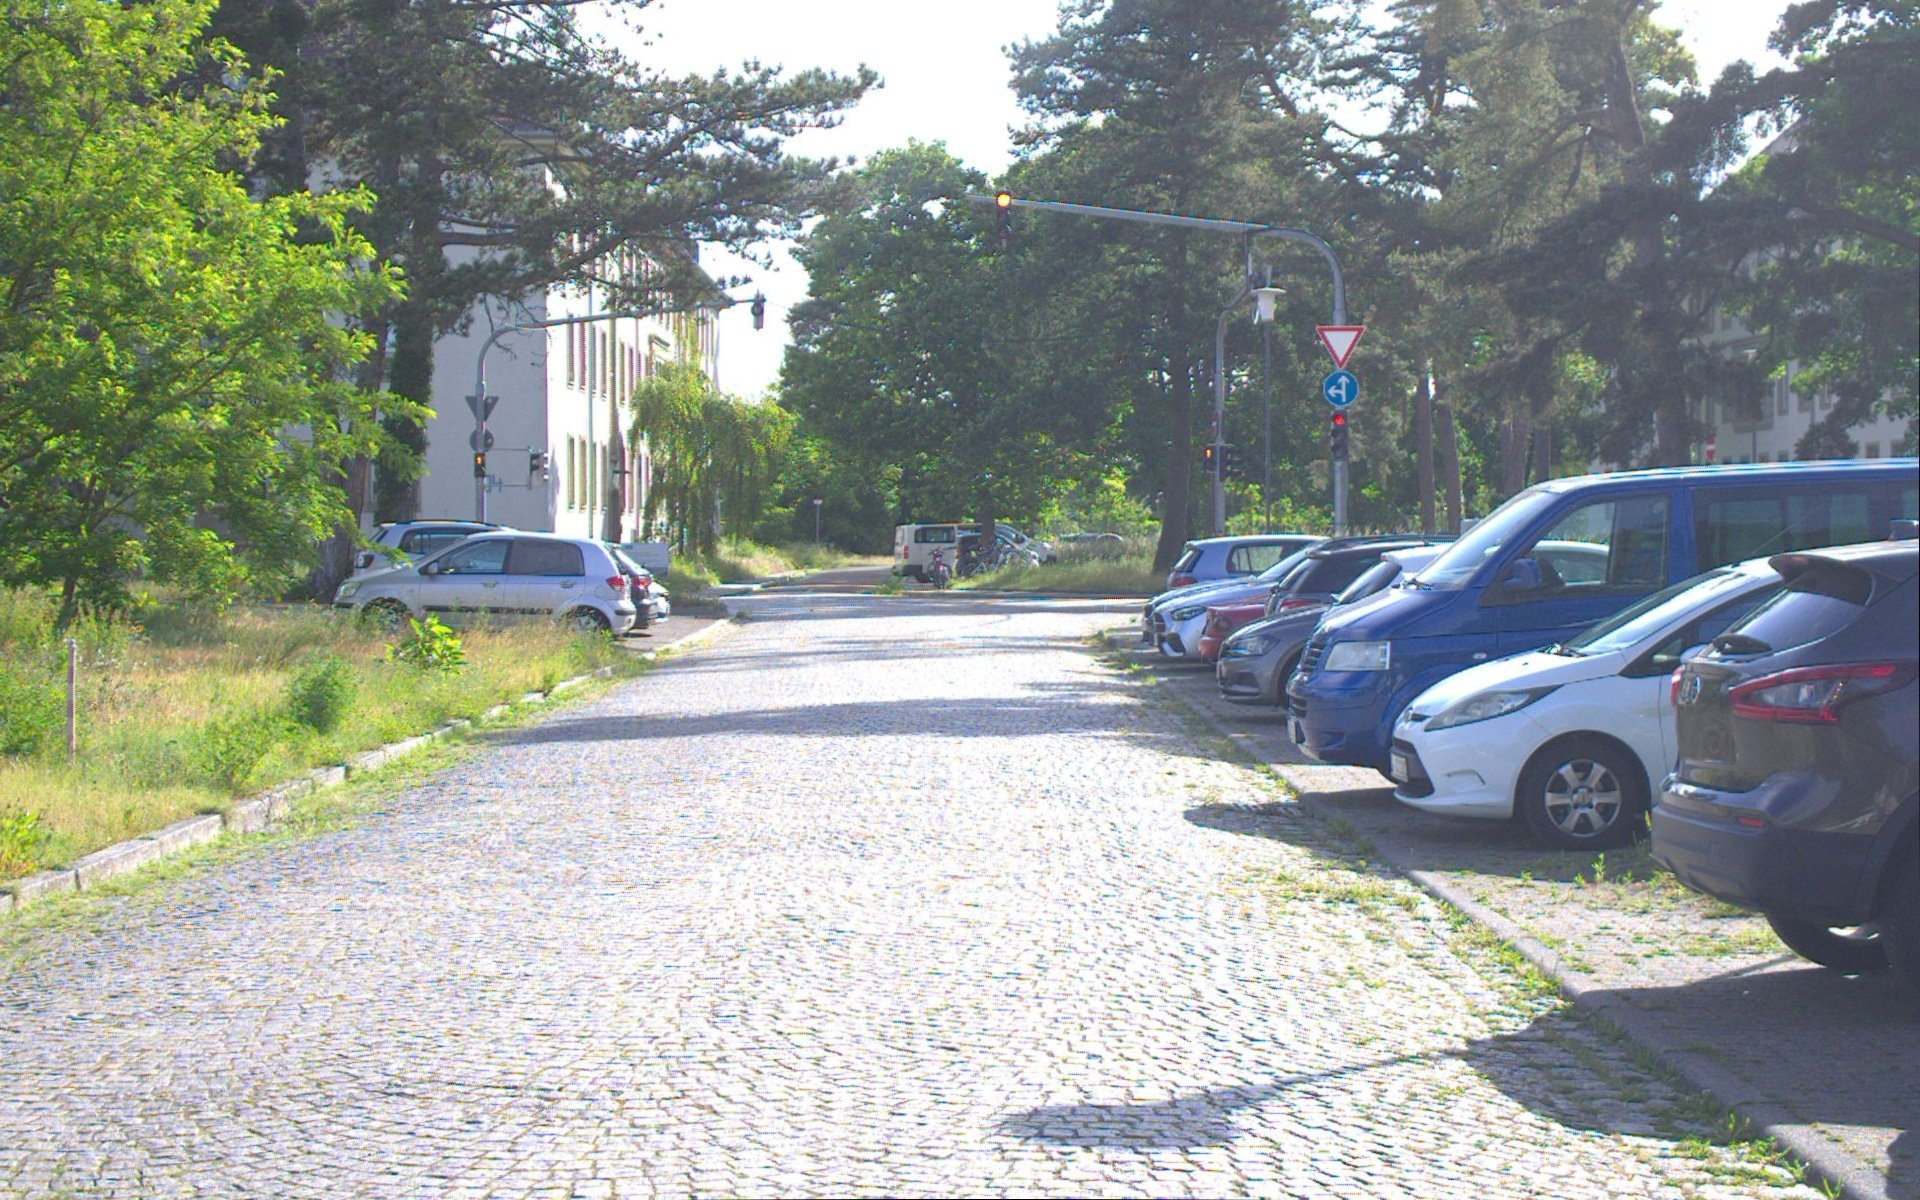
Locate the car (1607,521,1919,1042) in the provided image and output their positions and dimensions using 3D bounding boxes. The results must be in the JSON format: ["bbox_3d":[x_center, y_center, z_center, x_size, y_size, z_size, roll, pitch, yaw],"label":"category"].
[{"bbox_3d":[4.335,0.543,11.606,3.935,1.616,1.772,0,1,-1],"label":"car"}]

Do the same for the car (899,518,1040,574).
[{"bbox_3d":[0.295,-1.746,110.797,4.480,1.722,2.000,1,1,-1],"label":"car"}]

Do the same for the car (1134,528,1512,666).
[{"bbox_3d":[4.066,-0.052,38.916,4.033,1.524,1.646,0,1,-4],"label":"car"}]

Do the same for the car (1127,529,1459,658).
[{"bbox_3d":[3.999,-0.091,41.688,3.835,1.524,1.646,0,1,-1],"label":"car"}]

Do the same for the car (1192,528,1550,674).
[{"bbox_3d":[4.364,-0.005,36.836,3.602,1.524,1.646,0,1,-1],"label":"car"}]

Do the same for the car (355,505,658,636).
[{"bbox_3d":[-6.414,-0.440,48.981,3.987,1.596,2.000,3,1,-1],"label":"car"}]

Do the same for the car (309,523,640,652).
[{"bbox_3d":[-6.103,-0.178,43.594,3.986,1.595,2.000,0,1,-3],"label":"car"}]

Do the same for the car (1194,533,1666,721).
[{"bbox_3d":[3.880,0.206,28.769,3.675,1.462,1.645,-1,1,-1],"label":"car"}]

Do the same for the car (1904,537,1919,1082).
[{"bbox_3d":[4.569,0.601,8.939,3.762,1.525,1.645,0,1,0],"label":"car"}]

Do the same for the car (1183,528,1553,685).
[{"bbox_3d":[4.035,0.049,34.377,3.478,1.524,1.646,0,1,-1],"label":"car"}]

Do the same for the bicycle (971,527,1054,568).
[{"bbox_3d":[1.442,-1.440,94.690,2.172,1.096,0.807,0,1,-10],"label":"bicycle"}]

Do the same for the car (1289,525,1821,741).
[{"bbox_3d":[4.413,0.223,25.878,3.694,1.460,1.645,-2,1,1],"label":"car"}]

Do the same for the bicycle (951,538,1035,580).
[{"bbox_3d":[0.894,-1.115,93.330,2.172,1.096,0.807,0,1,-10],"label":"bicycle"}]

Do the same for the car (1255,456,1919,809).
[{"bbox_3d":[4.245,0.158,20.699,4.676,2.007,2.084,0,1,-3],"label":"car"}]

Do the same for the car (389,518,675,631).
[{"bbox_3d":[-6.357,-0.392,51.384,3.987,1.448,2.000,3,1,-1],"label":"car"}]

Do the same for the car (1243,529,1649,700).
[{"bbox_3d":[4.432,0.111,31.684,3.478,1.524,1.646,0,1,-1],"label":"car"}]

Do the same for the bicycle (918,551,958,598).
[{"bbox_3d":[-0.590,-0.677,89.883,0.804,1.165,2.181,-2,1,-6],"label":"bicycle"}]

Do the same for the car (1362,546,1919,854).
[{"bbox_3d":[4.093,0.482,18.026,3.719,1.483,1.646,-1,1,-2],"label":"car"}]

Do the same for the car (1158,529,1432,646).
[{"bbox_3d":[4.287,-0.172,44.326,3.343,1.477,1.646,0,1,-1],"label":"car"}]
